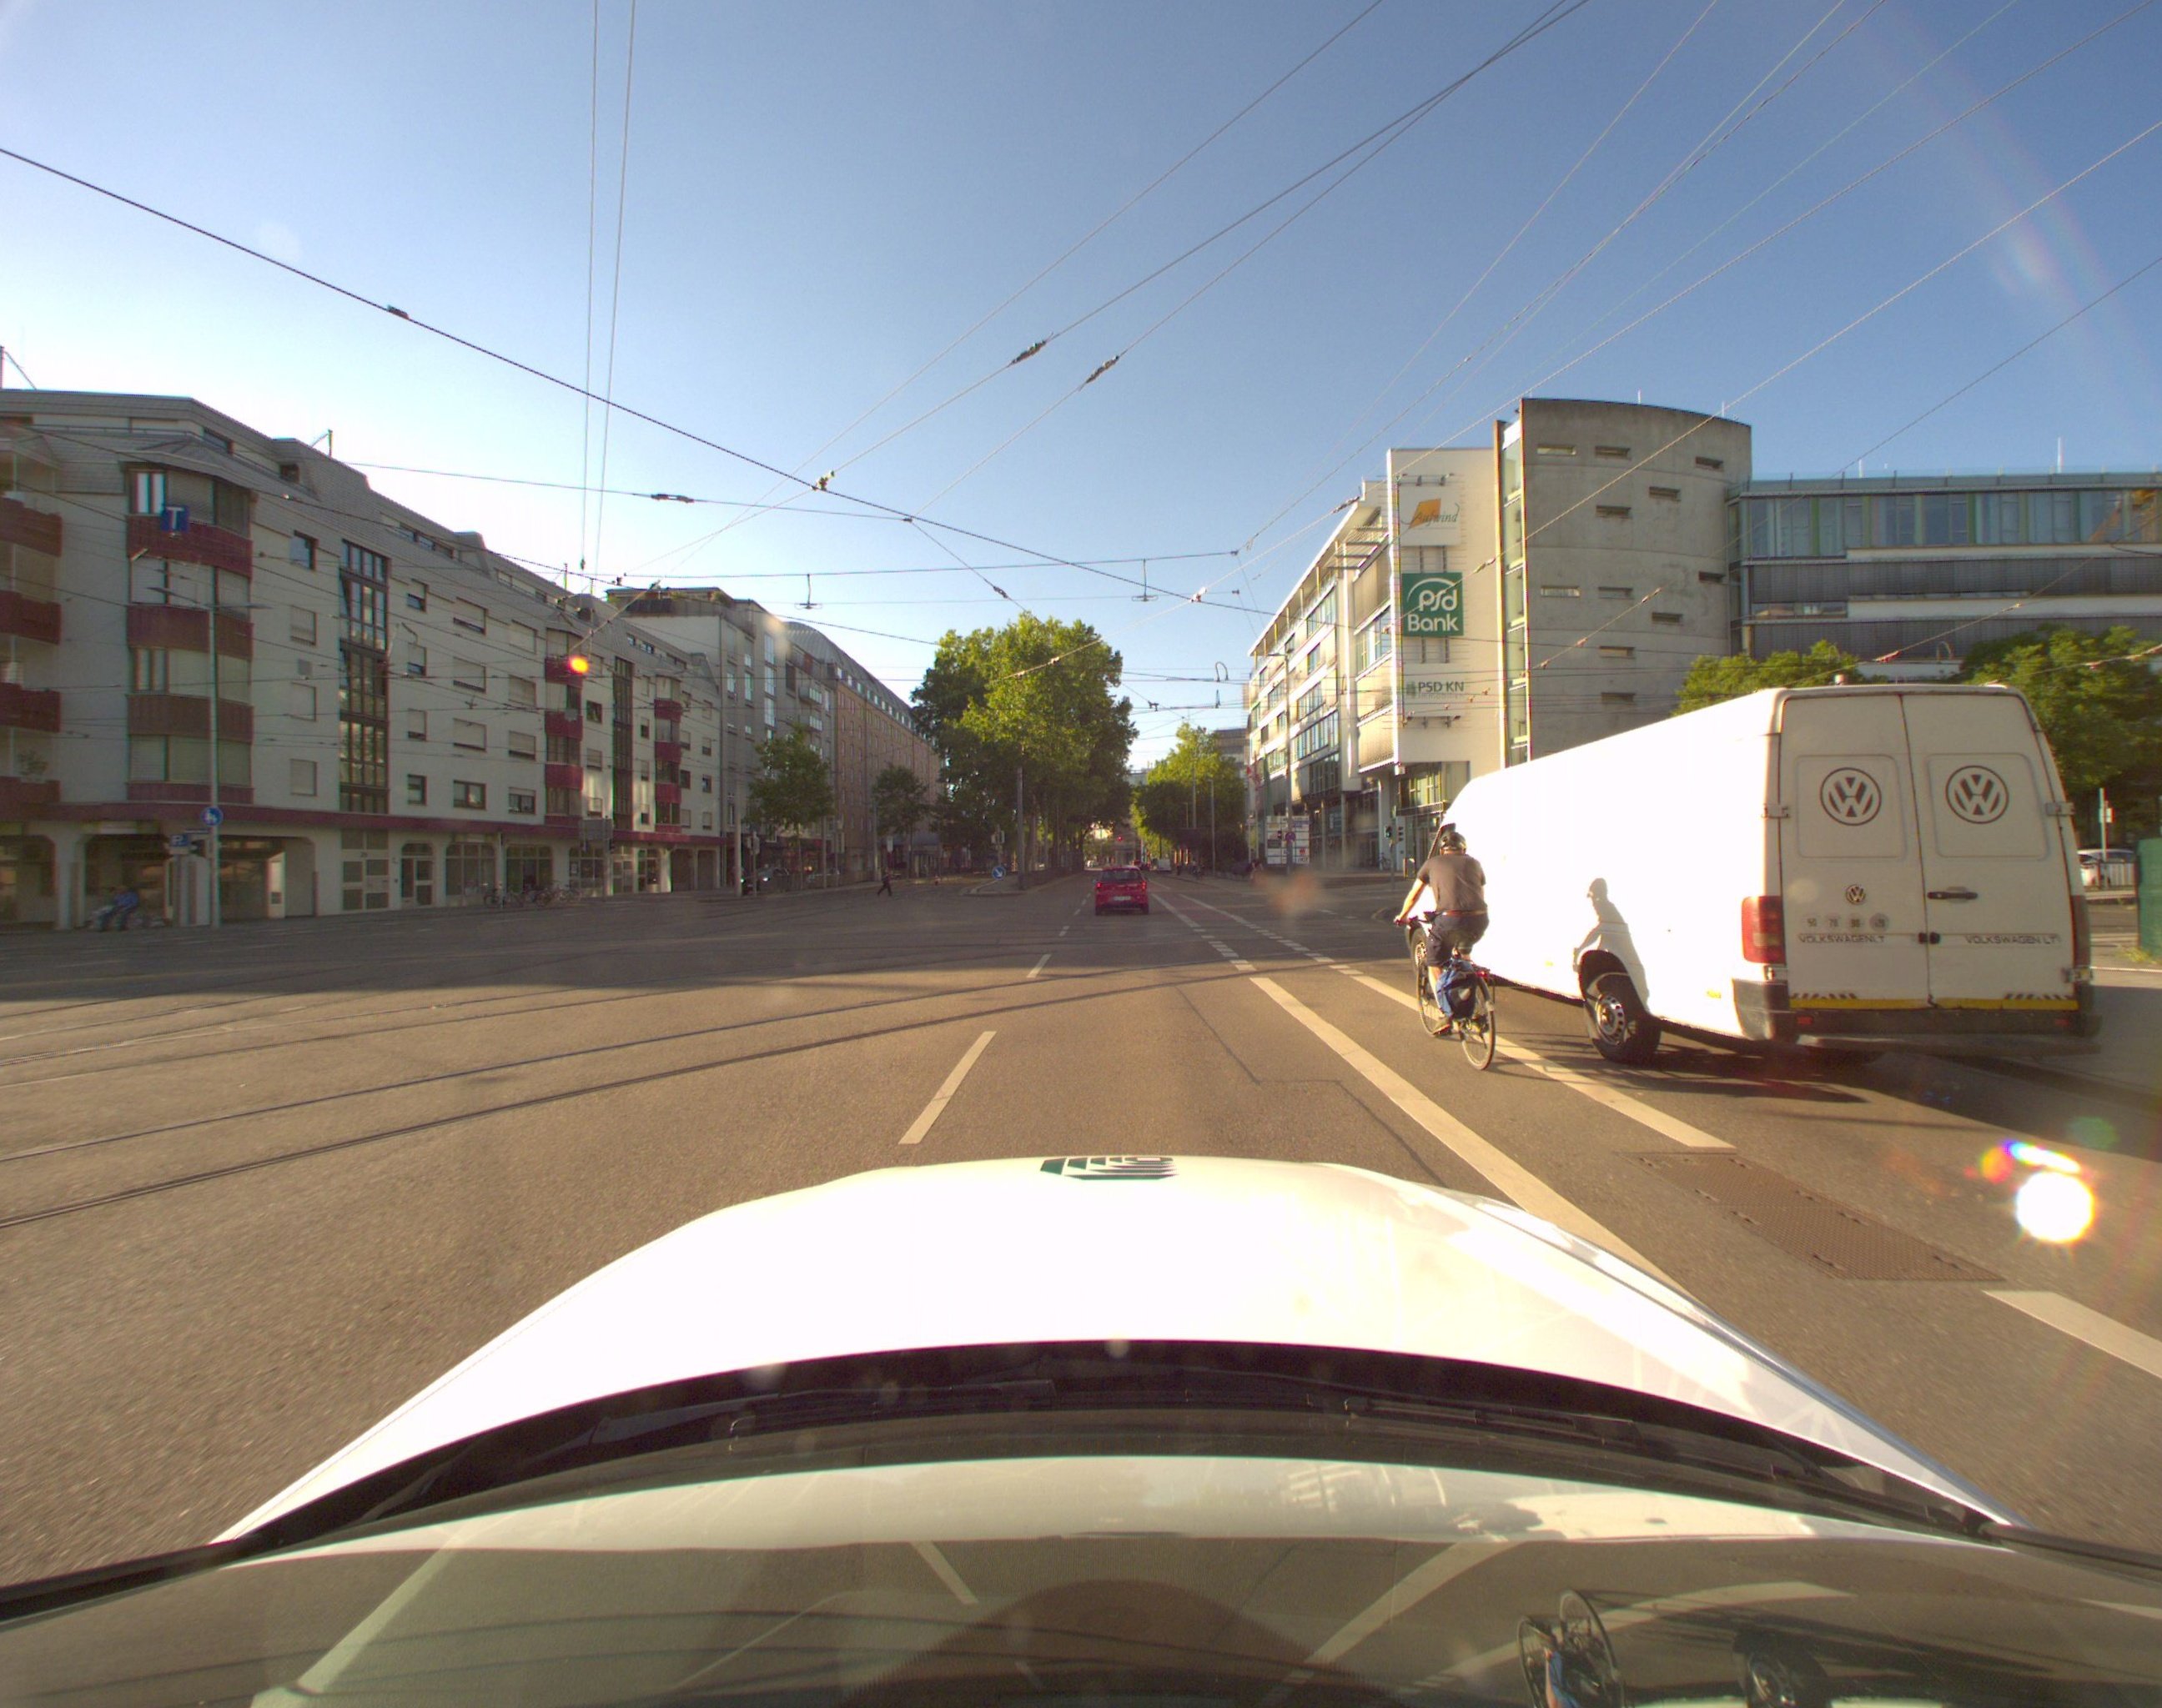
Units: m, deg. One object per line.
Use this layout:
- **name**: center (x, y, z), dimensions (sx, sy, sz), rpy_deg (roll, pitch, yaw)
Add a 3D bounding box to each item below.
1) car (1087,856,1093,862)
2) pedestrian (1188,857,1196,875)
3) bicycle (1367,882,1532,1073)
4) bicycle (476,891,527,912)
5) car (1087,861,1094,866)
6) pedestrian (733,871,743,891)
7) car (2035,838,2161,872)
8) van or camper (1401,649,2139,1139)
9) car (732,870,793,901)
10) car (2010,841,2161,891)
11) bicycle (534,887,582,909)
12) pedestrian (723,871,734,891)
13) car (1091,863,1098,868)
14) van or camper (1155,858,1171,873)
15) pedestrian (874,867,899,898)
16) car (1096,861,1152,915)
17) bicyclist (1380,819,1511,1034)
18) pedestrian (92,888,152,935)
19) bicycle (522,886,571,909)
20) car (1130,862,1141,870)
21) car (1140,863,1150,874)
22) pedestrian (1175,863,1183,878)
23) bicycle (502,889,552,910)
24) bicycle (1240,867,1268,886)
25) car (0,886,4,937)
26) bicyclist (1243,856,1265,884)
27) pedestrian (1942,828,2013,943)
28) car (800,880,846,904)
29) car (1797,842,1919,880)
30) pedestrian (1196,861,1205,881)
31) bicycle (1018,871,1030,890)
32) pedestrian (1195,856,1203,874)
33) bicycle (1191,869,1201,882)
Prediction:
- **car**: center (2.711, 1.556, 252.011), dimensions (1.773, 1.588, 3.408), rpy_deg (0, 0, -3)
- **pedestrian**: center (11.053, 1.172, 80.854), dimensions (0.562, 1.702, 0.906), rpy_deg (-4, -1, 0)
- **bicycle**: center (2.937, 0.904, 6.724), dimensions (0.646, 1.281, 1.969), rpy_deg (-1, -1, 7)
- **bicycle**: center (-24.932, 2.024, 35.033), dimensions (1.835, 0.854, 0.554), rpy_deg (-1, -1, 4)
- **car**: center (2.938, 2.965, 245.971), dimensions (1.773, 1.535, 3.408), rpy_deg (0, 0, -3)
- **pedestrian**: center (-26.427, 2.082, 62.735), dimensions (0.533, 1.494, 0.587), rpy_deg (-1, -1, -1)
- **car**: center (49.172, 0.040, 39.110), dimensions (4.373, 1.495, 1.987), rpy_deg (-1, 0, 0)
- **van or camper**: center (5.064, 0.236, 7.710), dimensions (1.960, 2.716, 6.310), rpy_deg (0, 0, 4)
- **car**: center (-19.423, 1.896, 49.851), dimensions (1.948, 1.672, 4.261), rpy_deg (-1, 0, 1)
- **car**: center (35.280, 0.393, 28.168), dimensions (3.973, 1.612, 2.000), rpy_deg (-1, -1, 0)
- **bicycle**: center (-24.159, 2.022, 37.626), dimensions (1.837, 0.985, 0.553), rpy_deg (-1, -1, -1)
- **pedestrian**: center (-27.021, 2.075, 62.425), dimensions (0.533, 1.494, 0.587), rpy_deg (-1, -1, -1)
- **car**: center (4.016, 3.276, 239.346), dimensions (1.773, 1.535, 3.408), rpy_deg (0, 0, -3)
- **van or camper**: center (11.424, 1.630, 114.055), dimensions (1.985, 1.989, 4.748), rpy_deg (-1, -1, 3)
- **pedestrian**: center (-9.924, 1.463, 41.660), dimensions (1.040, 1.544, 0.695), rpy_deg (-1, -1, 5)
- **car**: center (1.311, 0.991, 25.243), dimensions (1.607, 1.535, 3.413), rpy_deg (0, 0, 2)
- **bicyclist**: center (2.934, 0.551, 6.669), dimensions (0.646, 1.603, 1.091), rpy_deg (-1, -1, 6)
- **pedestrian**: center (-29.963, 1.785, 25.453), dimensions (0.856, 1.384, 0.834), rpy_deg (-1, -1, -9)
- **bicycle**: center (-24.298, 1.978, 37.021), dimensions (1.837, 0.985, 0.553), rpy_deg (-1, -1, -1)
- **car**: center (10.522, 2.283, 157.472), dimensions (1.773, 1.535, 3.508), rpy_deg (0, 0, -3)
- **car**: center (10.985, 2.499, 139.086), dimensions (1.628, 1.800, 3.333), rpy_deg (-1, -1, 4)
- **pedestrian**: center (10.331, 1.736, 85.879), dimensions (0.641, 1.579, 0.722), rpy_deg (-5, -1, -7)
- **bicycle**: center (-24.310, 2.004, 35.746), dimensions (1.835, 0.854, 0.554), rpy_deg (-1, -1, 4)
- **bicycle**: center (10.343, 1.347, 48.636), dimensions (0.699, 1.098, 1.737), rpy_deg (-4, 0, -22)
- **car**: center (-34.801, 1.786, 23.667), dimensions (3.983, 1.556, 1.995), rpy_deg (-1, -1, -7)
- **bicyclist**: center (10.340, 0.934, 48.569), dimensions (0.725, 1.603, 1.080), rpy_deg (-3, -1, -22)
- **pedestrian**: center (14.751, 0.505, 13.415), dimensions (1.088, 1.813, 0.728), rpy_deg (1, -2, -43)
- **car**: center (-19.160, 2.778, 60.673), dimensions (1.948, 1.595, 4.261), rpy_deg (-1, 0, 1)
- **car**: center (37.350, 0.346, 39.236), dimensions (3.973, 1.695, 1.987), rpy_deg (-1, -1, 0)
- **pedestrian**: center (9.978, 1.391, 67.829), dimensions (0.644, 1.680, 0.652), rpy_deg (-1, -1, 2)
- **bicycle**: center (-3.236, 1.486, 46.105), dimensions (0.393, 0.949, 1.354), rpy_deg (-1, 2, 7)
- **pedestrian**: center (11.722, 1.076, 80.826), dimensions (0.539, 1.796, 0.906), rpy_deg (-4, -1, 0)
- **bicycle**: center (9.544, 1.801, 67.747), dimensions (0.519, 0.975, 2.202), rpy_deg (-5, 0, 1)
